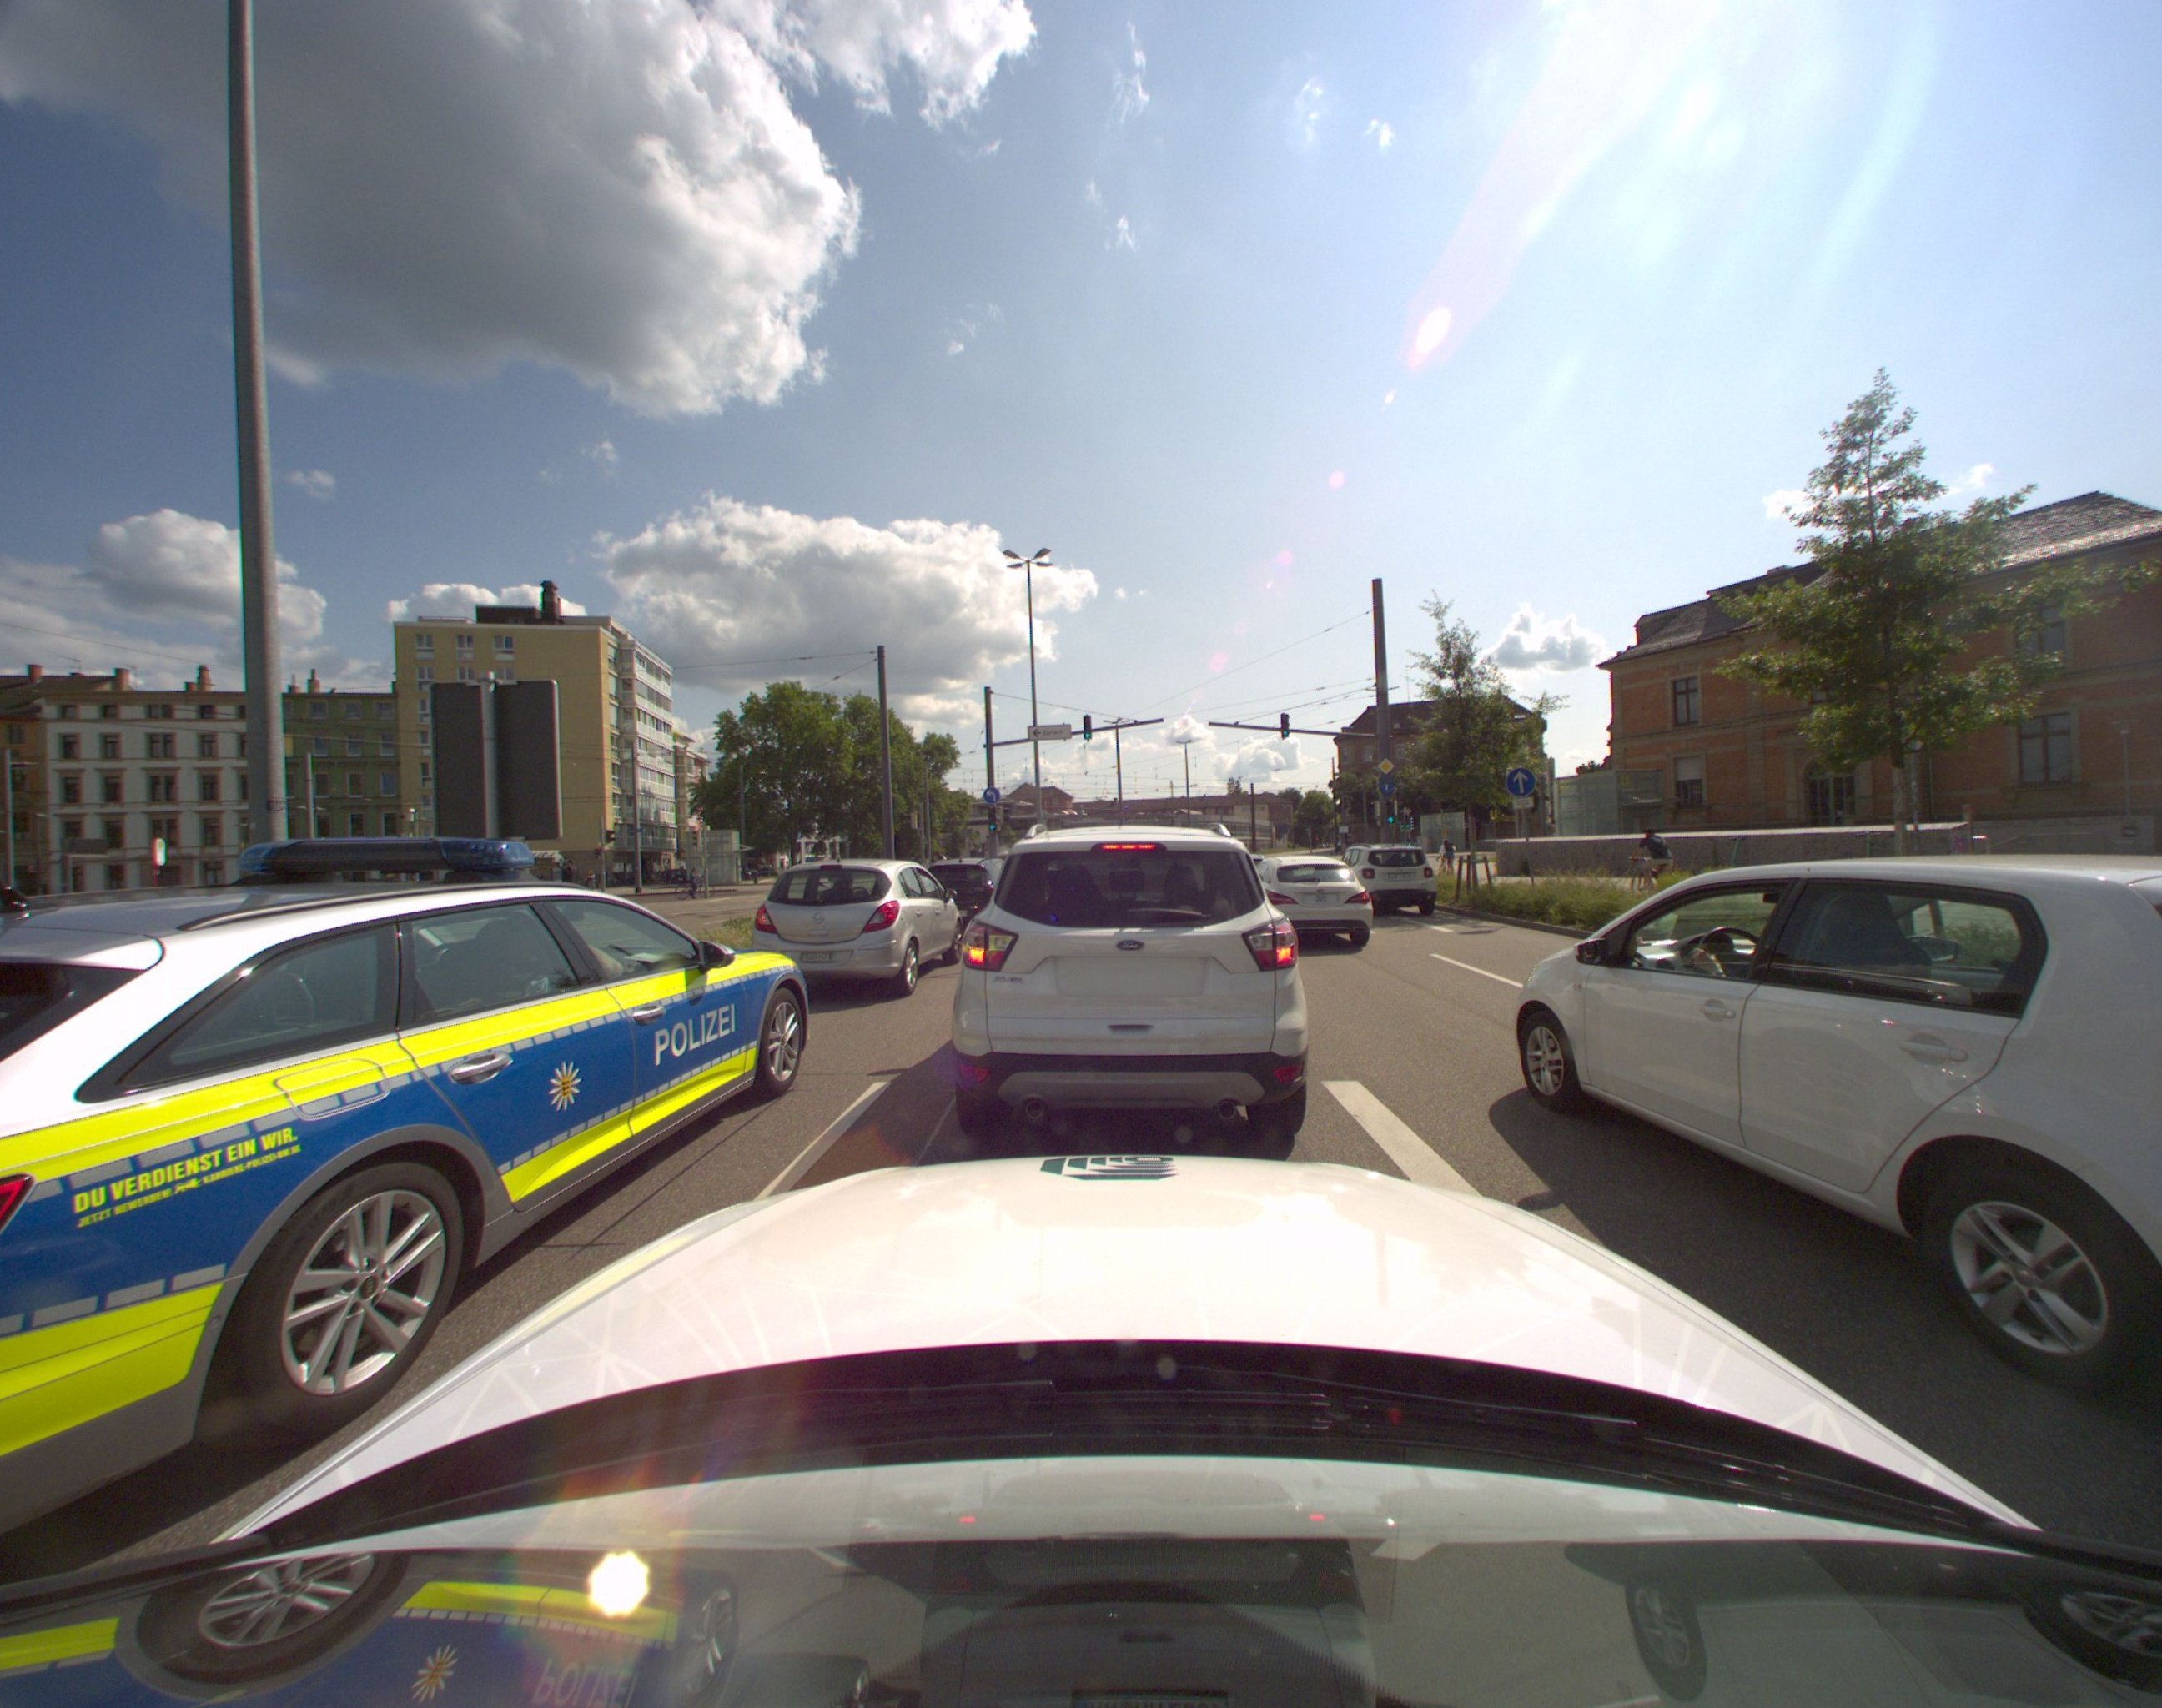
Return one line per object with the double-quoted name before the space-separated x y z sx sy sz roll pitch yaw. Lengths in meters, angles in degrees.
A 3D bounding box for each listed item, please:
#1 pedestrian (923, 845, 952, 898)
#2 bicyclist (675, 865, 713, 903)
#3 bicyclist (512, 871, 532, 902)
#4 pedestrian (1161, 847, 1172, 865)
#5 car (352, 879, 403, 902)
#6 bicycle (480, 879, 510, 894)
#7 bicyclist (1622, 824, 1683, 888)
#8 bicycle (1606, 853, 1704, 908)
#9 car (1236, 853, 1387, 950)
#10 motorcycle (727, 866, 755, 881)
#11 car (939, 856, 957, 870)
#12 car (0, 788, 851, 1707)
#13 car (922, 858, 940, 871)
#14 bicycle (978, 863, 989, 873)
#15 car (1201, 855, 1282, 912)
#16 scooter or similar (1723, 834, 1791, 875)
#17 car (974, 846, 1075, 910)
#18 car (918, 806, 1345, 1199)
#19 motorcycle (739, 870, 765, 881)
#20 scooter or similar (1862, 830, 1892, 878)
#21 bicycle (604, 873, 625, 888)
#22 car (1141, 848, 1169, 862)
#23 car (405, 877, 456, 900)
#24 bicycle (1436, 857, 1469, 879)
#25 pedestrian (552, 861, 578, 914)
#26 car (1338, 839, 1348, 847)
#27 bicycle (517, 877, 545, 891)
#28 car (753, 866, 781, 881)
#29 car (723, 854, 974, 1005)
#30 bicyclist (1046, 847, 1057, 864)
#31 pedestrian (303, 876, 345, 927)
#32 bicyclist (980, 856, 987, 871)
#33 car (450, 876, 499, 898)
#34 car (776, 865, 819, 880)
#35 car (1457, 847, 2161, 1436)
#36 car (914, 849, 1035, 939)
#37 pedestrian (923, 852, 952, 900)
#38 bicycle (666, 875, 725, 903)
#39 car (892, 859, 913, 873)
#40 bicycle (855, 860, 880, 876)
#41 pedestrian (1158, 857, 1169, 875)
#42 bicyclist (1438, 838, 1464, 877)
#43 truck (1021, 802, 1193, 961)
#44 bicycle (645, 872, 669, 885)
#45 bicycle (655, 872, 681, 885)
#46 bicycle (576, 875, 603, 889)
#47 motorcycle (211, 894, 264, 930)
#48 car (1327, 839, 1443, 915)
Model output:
"pedestrian" -5.307 0.633 30.196 0.844 1.917 0.693 -3 -1 1
"bicyclist" -18.578 1.408 39.097 1.293 1.731 0.994 -3 -1 -1
"bicyclist" -32.432 1.876 47.275 0.779 1.797 0.706 0 -1 -16
"pedestrian" 8.235 0.162 78.662 0.928 1.744 0.584 0 -1 -26
"car" -51.471 2.672 59.560 3.849 1.496 1.912 -3 -2 35
"bicycle" -49.377 2.739 68.647 1.808 1.104 0.792 -2 0 -18
"bicyclist" 11.529 0.028 16.454 0.630 1.220 0.927 -4 0 12
"bicycle" 11.562 0.501 16.486 0.841 0.970 1.967 -5 0 12
"car" 3.773 0.714 13.982 1.841 1.419 3.684 -1 0 5
"motorcycle" -30.455 1.782 72.902 2.193 1.238 0.910 -2 1 19
"car" -20.286 1.445 124.336 1.989 2.014 4.227 -4 -1 -2
"car" -2.672 0.704 3.496 1.873 1.568 4.617 -2 0 2
"car" -22.921 1.635 124.654 1.963 1.937 4.227 -4 -1 -2
"bicycle" -11.127 1.581 92.959 0.641 1.125 1.769 -2 0 -27
"car" 4.402 0.766 22.813 1.841 1.419 3.684 -1 0 5
"scooter or similar" 19.395 0.019 23.400 0.466 1.118 1.438 -3 0 -18
"car" -1.452 0.617 22.941 2.029 1.578 4.547 -1 0 6
"car" 0.391 0.647 5.499 1.818 1.664 3.961 -1 0 5
"motorcycle" -31.407 2.012 77.770 0.801 0.917 2.057 -2 1 39
"scooter or similar" 19.692 -0.012 20.145 1.326 1.104 0.460 -4 0 -44
"bicycle" -41.314 2.306 72.096 0.792 1.258 1.808 -2 0 -2
"car" 8.541 0.066 93.678 1.882 1.461 3.991 -3 0 24
"car" -48.050 2.535 60.115 3.849 1.496 1.912 -3 -2 35
"bicycle" 14.094 0.523 30.966 0.582 0.775 1.623 -2 0 4
"pedestrian" -19.111 1.226 30.156 0.770 1.903 0.819 0 -1 -30
"car" 54.081 -2.210 168.088 1.820 1.652 4.021 -2 -1 22
"bicycle" -46.803 2.511 69.324 1.808 1.104 0.792 -2 0 -18
"car" -32.480 2.038 84.402 1.905 1.413 3.986 -3 -1 -10
"car" -2.625 0.771 10.255 1.841 1.474 4.002 -2 0 2
"bicyclist" -2.943 0.145 80.486 0.753 1.683 0.764 -3 0 16
"pedestrian" -27.643 1.700 29.756 0.768 1.797 1.021 0 -1 -21
"bicyclist" -11.131 1.091 92.966 0.641 1.738 0.656 -2 0 -28
"car" -45.963 2.482 61.679 3.849 1.496 1.912 -3 -2 36
"car" -30.437 2.005 87.497 3.975 1.327 1.633 -3 -1 -1
"car" 3.474 0.717 3.830 1.643 1.422 4.000 1 -1 1
"car" -1.983 0.694 16.437 1.756 1.568 4.528 0 0 1
"pedestrian" -5.182 0.788 29.382 0.844 1.648 0.693 -3 -1 1
"bicycle" -18.481 1.670 39.091 2.286 1.188 0.994 -3 -1 -1
"car" -27.528 1.849 125.857 1.960 1.937 5.070 -4 -1 1
"bicycle" -19.792 1.320 75.579 2.171 1.414 0.808 -1 0 -14
"pedestrian" 8.030 1.192 79.358 0.928 1.744 0.584 0 -1 -25
"bicyclist" 14.080 0.126 31.007 0.605 1.451 0.775 -2 0 3
"truck" 0.596 0.384 14.028 2.328 2.155 5.859 -1 0 5
"bicycle" -38.353 2.218 73.714 1.808 1.147 0.792 -2 0 -17
"bicycle" -38.040 2.240 75.011 1.948 1.147 0.792 -2 0 -17
"bicycle" -42.392 2.397 70.227 1.808 1.104 0.792 -2 0 -18
"motorcycle" -30.648 2.106 29.599 1.436 1.236 0.484 -3 -1 3
"car" 7.365 0.528 20.134 1.826 1.652 4.009 -1 -1 8
